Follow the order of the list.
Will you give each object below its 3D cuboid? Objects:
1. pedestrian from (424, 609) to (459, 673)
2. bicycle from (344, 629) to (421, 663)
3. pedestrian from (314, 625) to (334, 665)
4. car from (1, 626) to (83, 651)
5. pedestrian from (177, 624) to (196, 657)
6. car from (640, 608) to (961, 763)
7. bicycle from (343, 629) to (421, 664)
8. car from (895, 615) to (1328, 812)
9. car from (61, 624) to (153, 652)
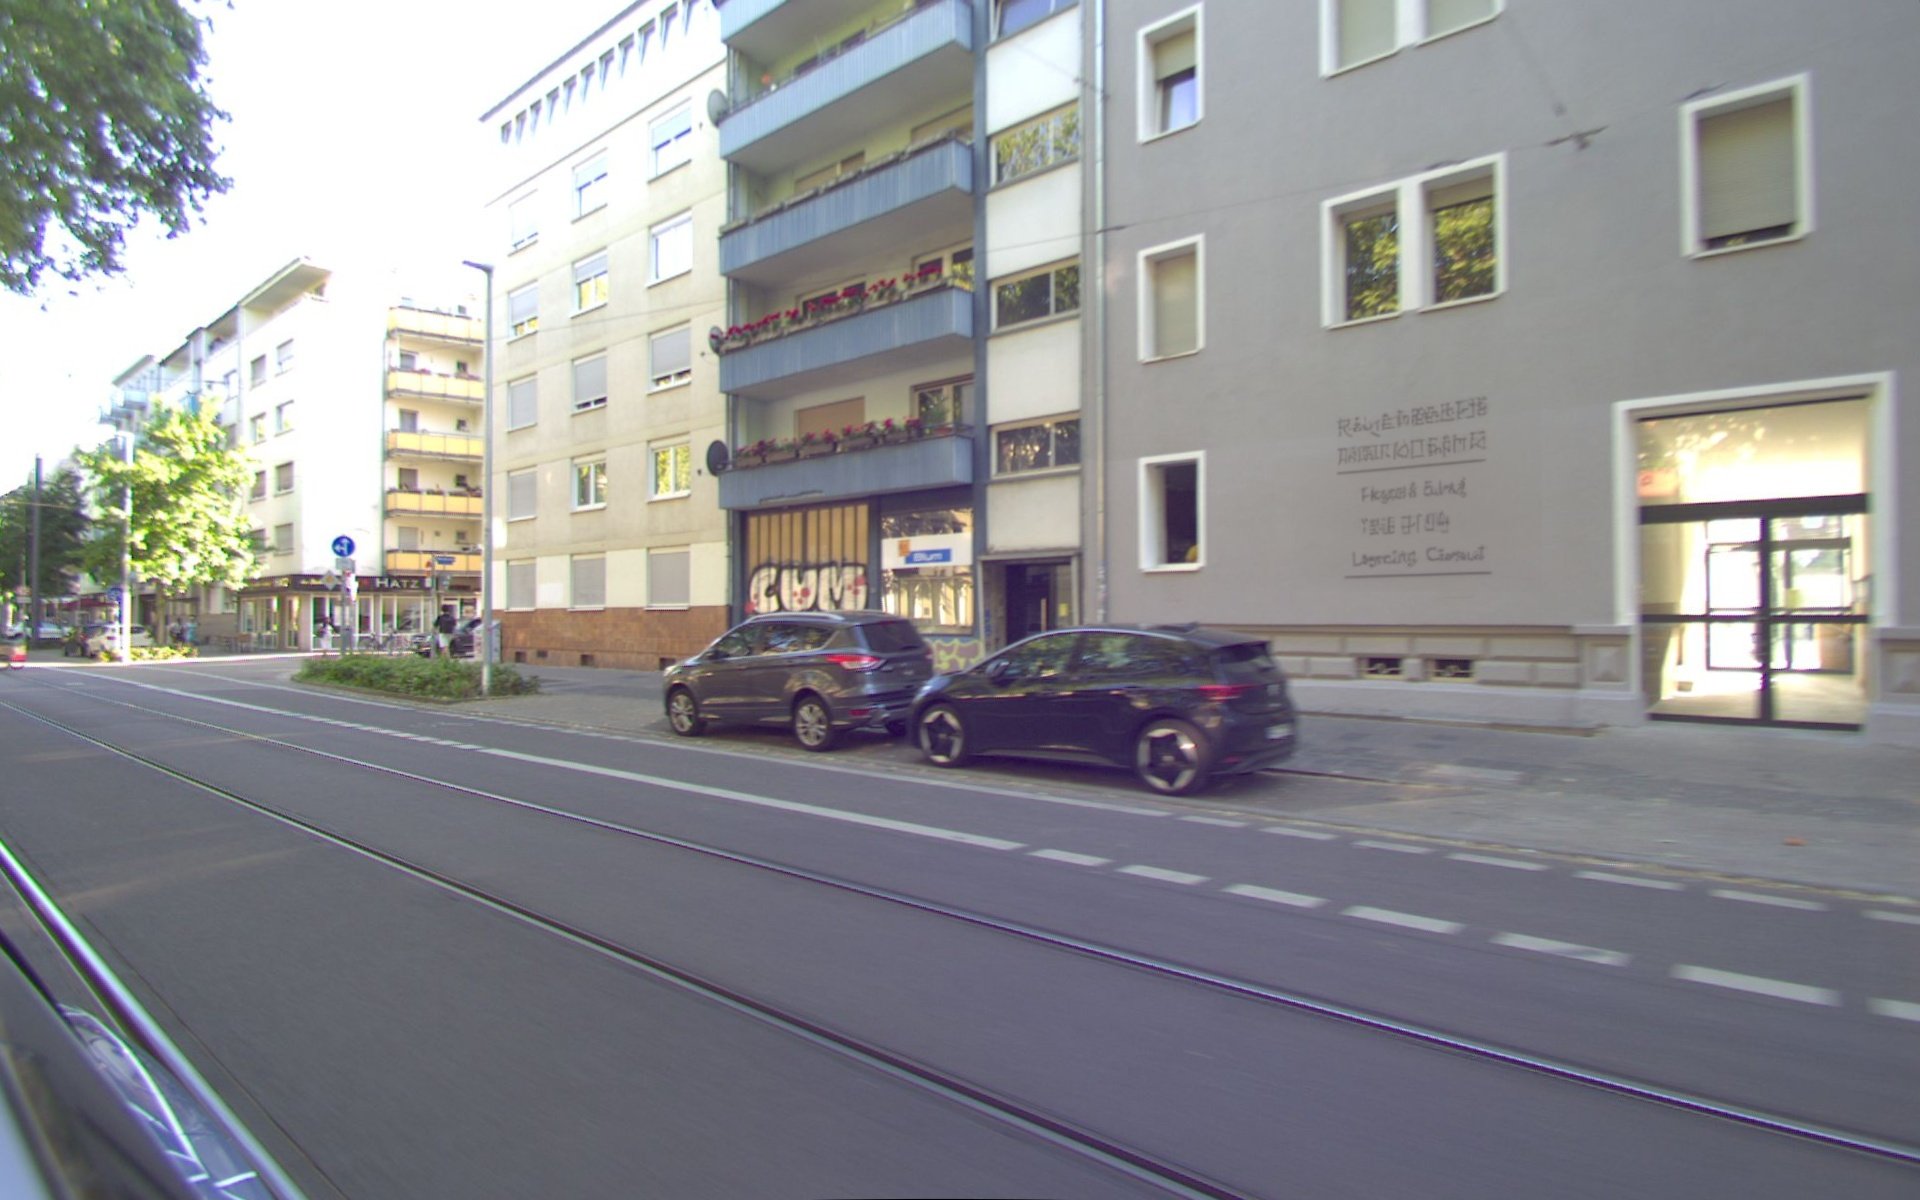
[{"bbox_3d":[-15.832,1.229,30.888,0.762,1.913,0.800,-1,-1,-41],"label":"pedestrian"},{"bbox_3d":[-24.127,1.895,42.324,2.762,1.323,0.540,-1,0,-30],"label":"bicycle"},{"bbox_3d":[-25.103,1.766,39.942,0.587,1.516,0.656,-1,-1,-41],"label":"pedestrian"},{"bbox_3d":[-59.720,2.476,65.875,1.587,1.535,3.899,-2,-2,44],"label":"car"},{"bbox_3d":[-36.536,1.907,47.780,0.655,1.516,0.588,-1,-1,41],"label":"pedestrian"},{"bbox_3d":[-2.293,1.030,13.791,4.484,1.752,1.762,-1,0,39],"label":"car"},{"bbox_3d":[-23.825,1.917,41.749,2.762,1.323,0.540,-1,0,-30],"label":"bicycle"},{"bbox_3d":[1.417,1.005,10.515,4.199,1.612,1.639,-1,0,40],"label":"car"},{"bbox_3d":[-48.691,2.140,57.819,1.587,1.535,3.899,-2,-2,44],"label":"car"}]
